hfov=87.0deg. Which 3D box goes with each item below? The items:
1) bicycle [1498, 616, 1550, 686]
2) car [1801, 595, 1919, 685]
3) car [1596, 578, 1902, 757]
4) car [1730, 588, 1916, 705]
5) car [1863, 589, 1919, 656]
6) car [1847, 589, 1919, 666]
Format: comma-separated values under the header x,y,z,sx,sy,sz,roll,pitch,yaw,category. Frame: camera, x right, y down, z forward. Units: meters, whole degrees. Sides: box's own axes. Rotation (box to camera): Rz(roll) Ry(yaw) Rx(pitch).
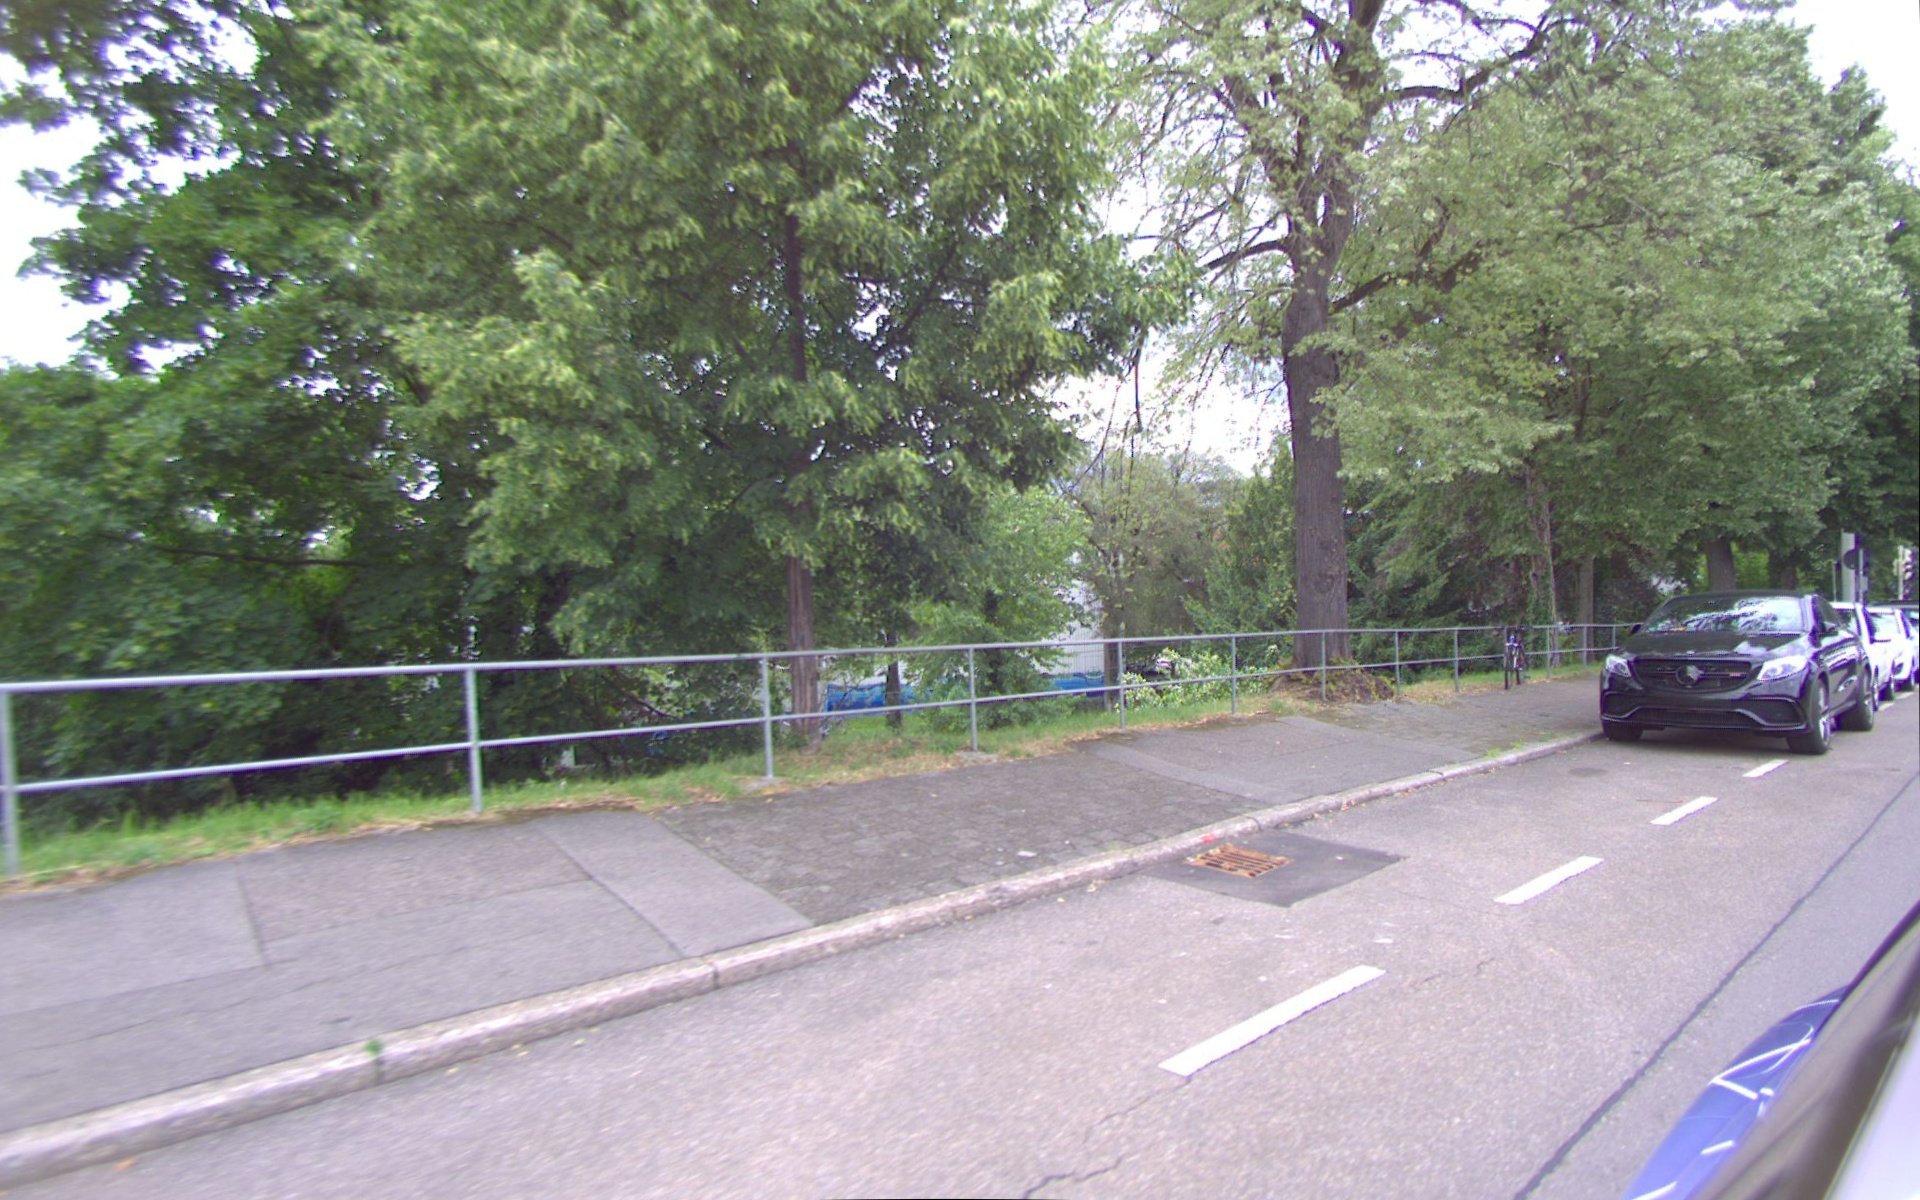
x,y,z,sx,sy,sz,roll,pitch,yaw,category
9.007,0.780,16.138,0.426,0.988,1.770,-1,1,39,bicycle
17.434,0.700,19.289,3.996,1.536,1.630,-1,-2,-43,car
9.438,0.643,11.934,4.974,1.699,1.880,0,-1,-41,car
13.904,0.686,16.227,4.019,1.653,1.727,0,-3,-43,car
25.104,0.528,26.208,4.518,1.635,1.907,-1,0,-40,car
21.459,0.564,22.783,4.289,1.595,1.736,-1,0,-42,car
